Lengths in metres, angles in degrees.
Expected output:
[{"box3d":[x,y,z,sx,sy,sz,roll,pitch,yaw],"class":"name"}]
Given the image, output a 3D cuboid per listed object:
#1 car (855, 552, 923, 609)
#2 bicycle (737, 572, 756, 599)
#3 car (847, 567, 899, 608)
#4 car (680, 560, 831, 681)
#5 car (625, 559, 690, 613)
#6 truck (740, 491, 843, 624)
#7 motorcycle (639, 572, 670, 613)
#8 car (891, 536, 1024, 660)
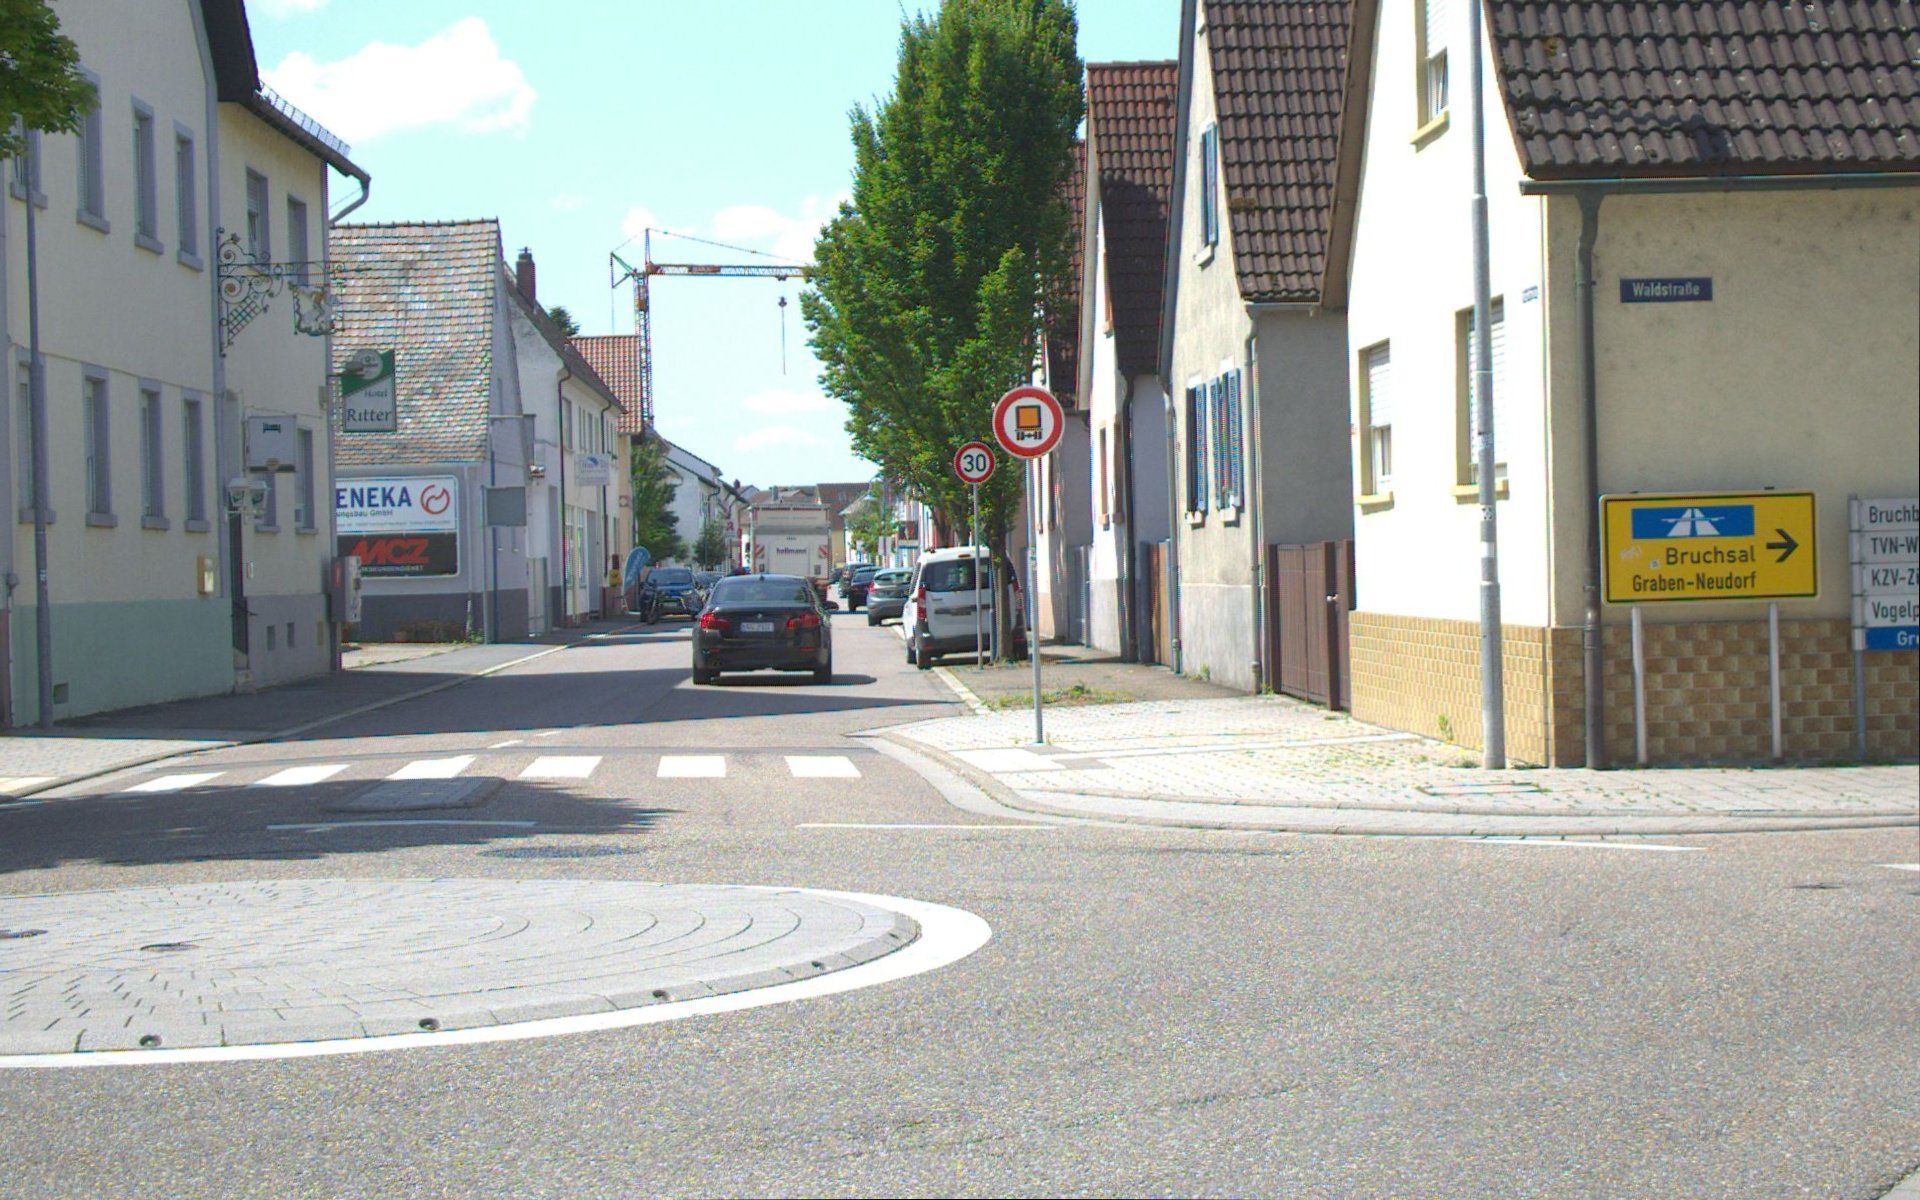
[{"box3d":[-1.849,-0.521,90.278,1.719,1.456,4.157,-1,1,-1],"class":"car"},{"box3d":[-10.171,-0.689,163.731,0.751,1.303,2.685,0,0,-1],"class":"bicycle"},{"box3d":[-3.008,-0.444,118.673,1.719,1.350,4.157,-1,1,-2],"class":"car"},{"box3d":[-2.767,0.246,47.349,1.902,1.558,4.477,-1,1,-1],"class":"car"},{"box3d":[-9.165,-0.453,104.368,1.809,1.583,4.001,-1,1,-3],"class":"car"},{"box3d":[-5.570,-1.367,114.886,3.144,4.236,9.302,0,0,-1],"class":"truck"},{"box3d":[-8.919,-0.228,100.508,0.846,1.166,2.469,0,0,-4],"class":"motorcycle"},{"box3d":[-0.078,-0.058,53.602,1.719,1.784,4.144,-3,1,-4],"class":"car"}]
